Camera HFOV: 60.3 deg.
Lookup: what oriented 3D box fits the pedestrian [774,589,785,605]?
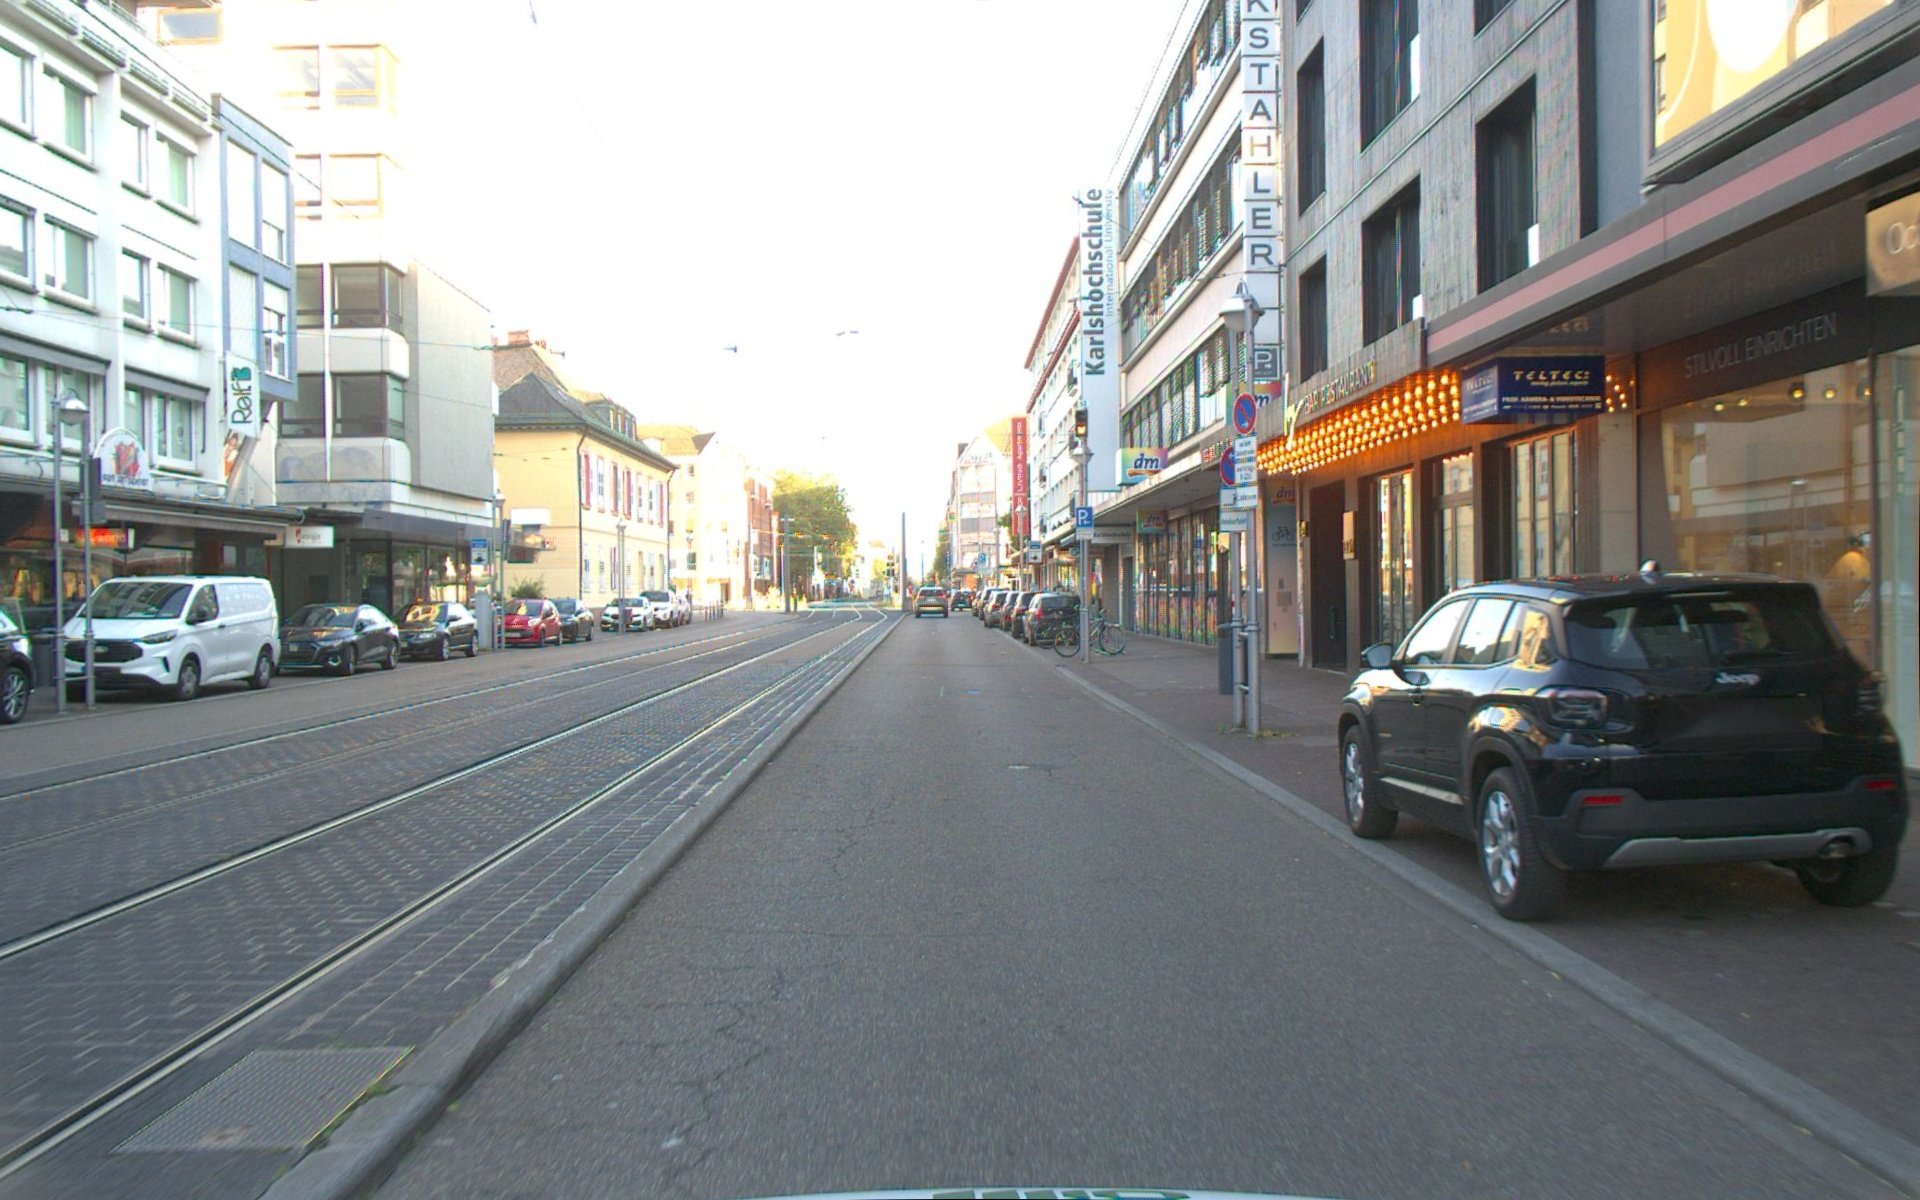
[{"bbox_3d":[-15.714,-0.249,144.329,0.885,1.399,0.853,-1,0,-4],"label":"pedestrian"}]

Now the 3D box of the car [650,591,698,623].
[{"bbox_3d":[-14.076,0.339,81.533,1.713,1.500,3.999,1,1,-1],"label":"car"}]

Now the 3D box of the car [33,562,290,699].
[{"bbox_3d":[-13.146,0.479,27.645,1.924,2.049,5.097,1,0,-2],"label":"car"}]

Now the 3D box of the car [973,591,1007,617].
[{"bbox_3d":[1.706,0.238,95.178,1.754,1.437,4.686,1,0,-1],"label":"car"}]

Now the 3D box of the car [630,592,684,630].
[{"bbox_3d":[-14.047,0.470,76.884,1.849,1.690,4.758,1,0,-3],"label":"car"}]

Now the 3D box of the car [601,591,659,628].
[{"bbox_3d":[-14.001,0.388,70.423,1.686,1.478,4.282,1,0,-2],"label":"car"}]

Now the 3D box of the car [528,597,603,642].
[{"bbox_3d":[-13.484,0.641,56.747,1.657,1.450,3.964,1,0,-1],"label":"car"}]

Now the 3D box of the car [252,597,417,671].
[{"bbox_3d":[-13.241,0.695,35.315,1.834,1.451,4.570,1,0,-1],"label":"car"}]

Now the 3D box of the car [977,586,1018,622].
[{"bbox_3d":[1.864,0.209,83.653,1.818,1.730,4.416,1,0,-2],"label":"car"}]

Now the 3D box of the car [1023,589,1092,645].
[{"bbox_3d":[2.728,0.469,46.774,1.621,1.488,4.021,1,0,-1],"label":"car"}]

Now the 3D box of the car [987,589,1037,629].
[{"bbox_3d":[2.136,0.367,68.899,1.755,1.560,4.855,1,0,-2],"label":"car"}]

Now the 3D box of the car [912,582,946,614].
[{"bbox_3d":[-1.711,-0.079,93.436,1.798,1.665,4.090,-2,-1,0],"label":"car"}]

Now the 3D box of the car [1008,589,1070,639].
[{"bbox_3d":[2.529,0.443,53.823,1.729,1.540,4.071,1,0,-1],"label":"car"}]

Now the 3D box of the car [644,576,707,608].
[{"bbox_3d":[-18.844,-0.550,109.529,3.924,2.049,1.990,-1,0,-18],"label":"car"}]

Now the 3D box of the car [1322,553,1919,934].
[{"bbox_3d":[3.284,0.603,8.903,1.705,1.568,3.964,-1,0,-1],"label":"car"}]

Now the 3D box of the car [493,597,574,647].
[{"bbox_3d":[-13.288,0.665,51.674,1.657,1.459,3.591,0,0,-1],"label":"car"}]

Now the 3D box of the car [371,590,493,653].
[{"bbox_3d":[-13.290,0.505,41.855,1.753,1.486,4.091,-1,0,0],"label":"car"}]

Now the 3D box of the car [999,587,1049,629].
[{"bbox_3d":[2.410,0.311,63.186,1.691,1.507,3.999,1,0,-1],"label":"car"}]

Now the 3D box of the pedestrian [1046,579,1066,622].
[{"bbox_3d":[4.280,0.029,73.655,0.759,1.913,0.934,-1,0,-3],"label":"pedestrian"}]

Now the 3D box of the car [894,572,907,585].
[{"bbox_3d":[-9.184,-3.326,255.933,1.915,2.049,3.999,1,0,-1],"label":"car"}]

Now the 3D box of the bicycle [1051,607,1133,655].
[{"bbox_3d":[3.012,0.693,37.713,1.759,0.989,0.575,-3,0,-4],"label":"bicycle"}]

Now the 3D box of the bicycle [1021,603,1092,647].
[{"bbox_3d":[2.533,0.650,43.488,1.803,1.129,0.641,0,0,-5],"label":"bicycle"}]
